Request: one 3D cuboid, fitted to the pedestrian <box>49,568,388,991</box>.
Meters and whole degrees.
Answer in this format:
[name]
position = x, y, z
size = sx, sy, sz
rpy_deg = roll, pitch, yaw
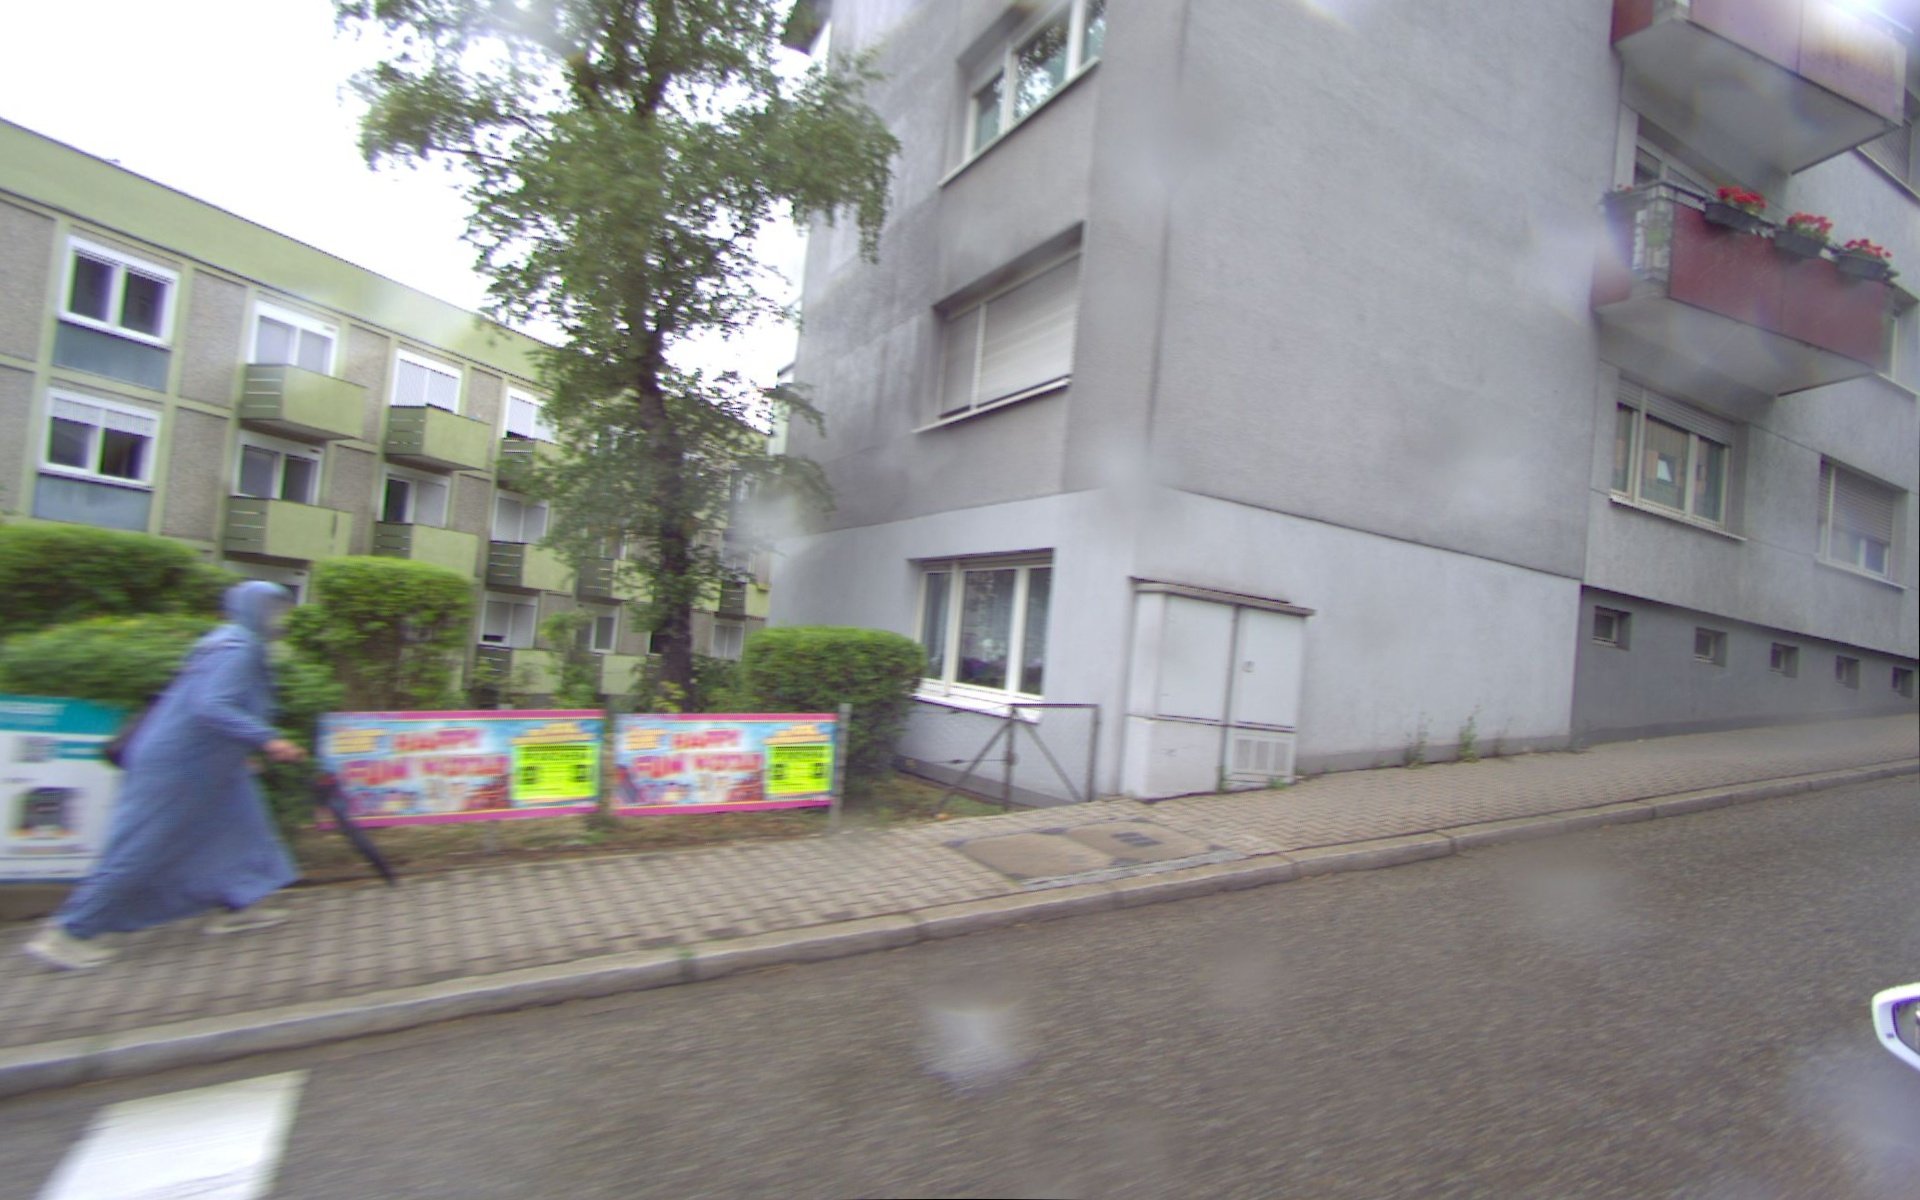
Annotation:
[pedestrian]
position = -3.125, 0.661, 4.358
size = 1.075, 1.562, 0.864
rpy_deg = 1, 2, -32
